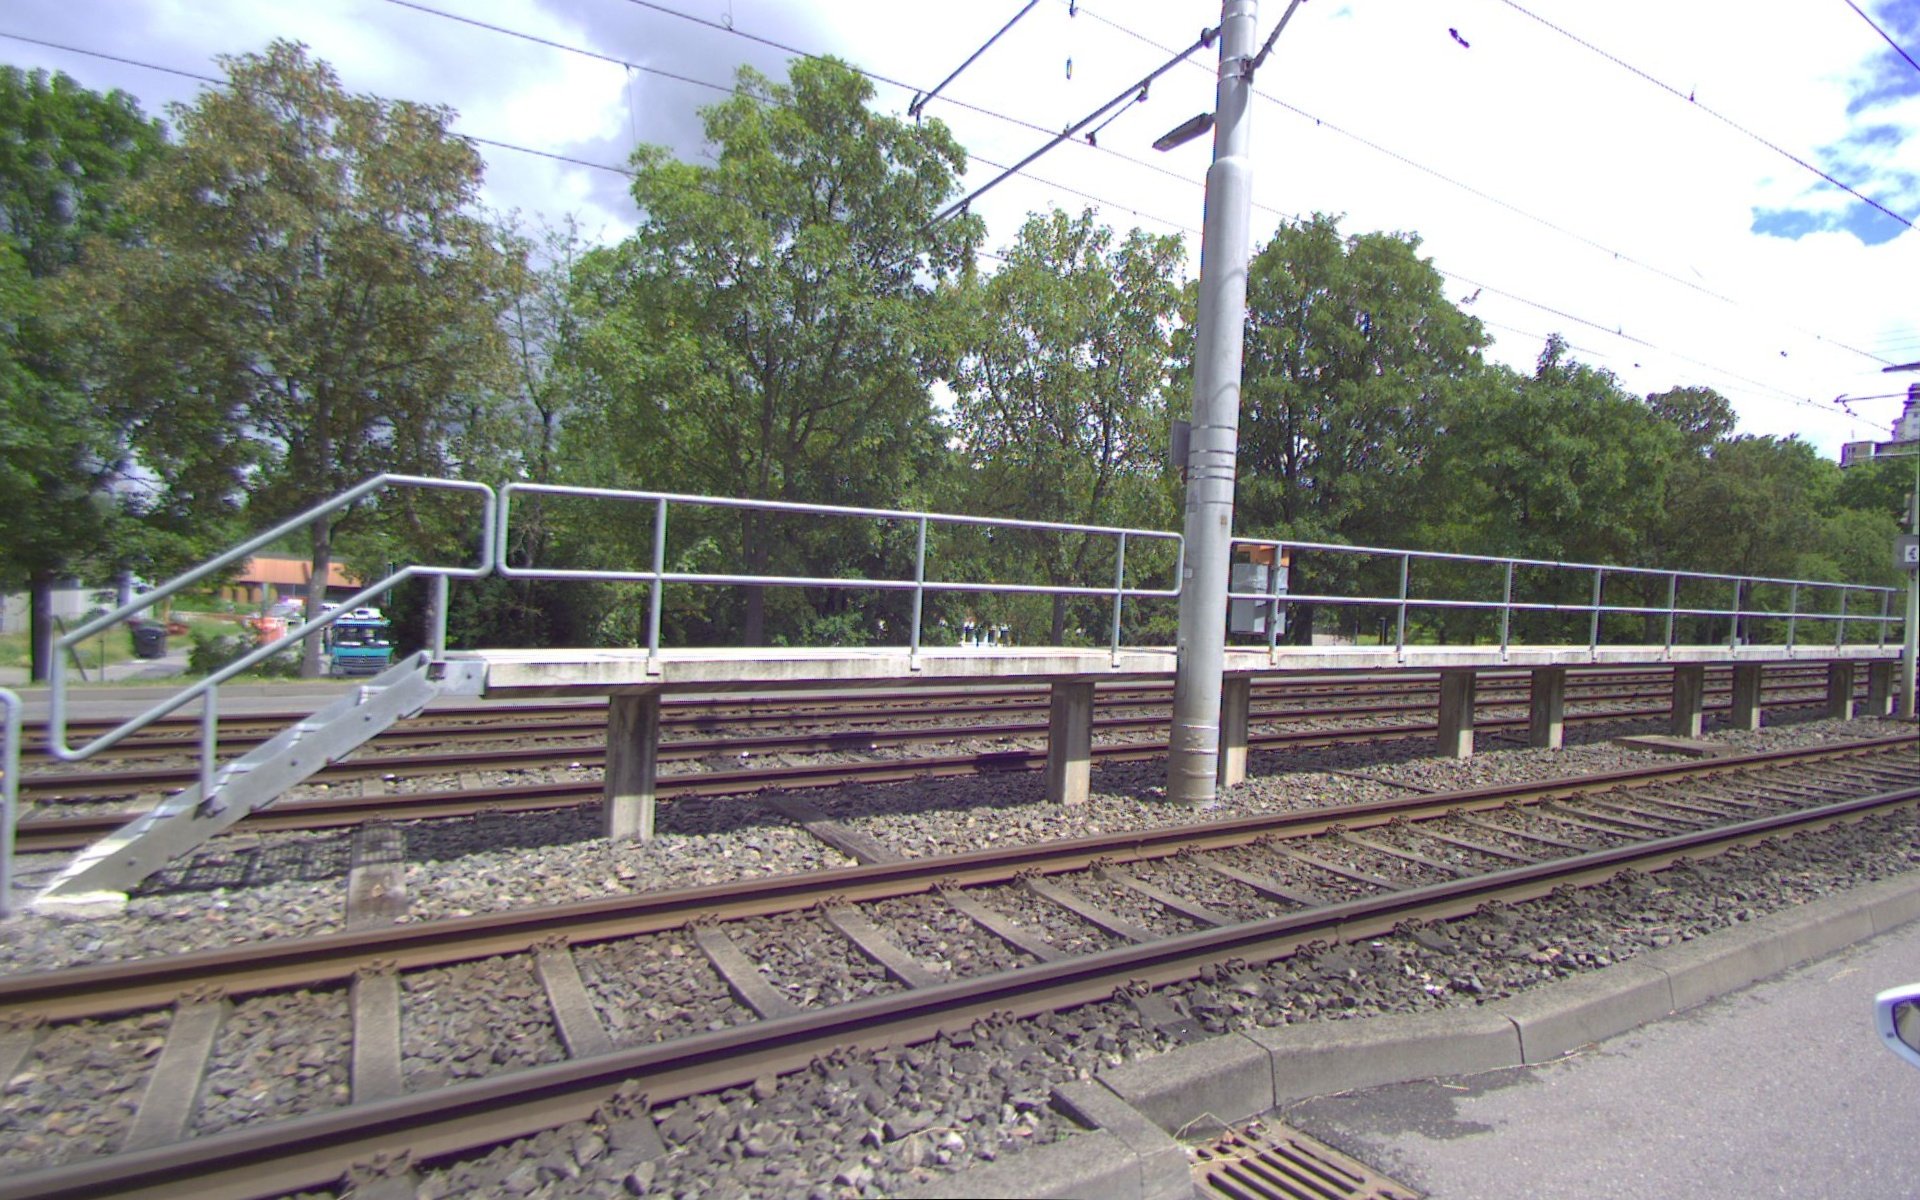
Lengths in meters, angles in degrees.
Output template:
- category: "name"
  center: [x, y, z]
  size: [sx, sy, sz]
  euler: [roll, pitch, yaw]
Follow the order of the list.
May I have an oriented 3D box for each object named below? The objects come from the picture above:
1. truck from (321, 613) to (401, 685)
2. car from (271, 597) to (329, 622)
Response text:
- category: "truck"
  center: [-26.139, 2.082, 44.065]
  size: [2.646, 2.893, 6.576]
  euler: [1, -2, -28]
- category: "car"
  center: [-56.858, 0.802, 86.603]
  size: [3.953, 2.040, 1.984]
  euler: [2, 0, -30]
